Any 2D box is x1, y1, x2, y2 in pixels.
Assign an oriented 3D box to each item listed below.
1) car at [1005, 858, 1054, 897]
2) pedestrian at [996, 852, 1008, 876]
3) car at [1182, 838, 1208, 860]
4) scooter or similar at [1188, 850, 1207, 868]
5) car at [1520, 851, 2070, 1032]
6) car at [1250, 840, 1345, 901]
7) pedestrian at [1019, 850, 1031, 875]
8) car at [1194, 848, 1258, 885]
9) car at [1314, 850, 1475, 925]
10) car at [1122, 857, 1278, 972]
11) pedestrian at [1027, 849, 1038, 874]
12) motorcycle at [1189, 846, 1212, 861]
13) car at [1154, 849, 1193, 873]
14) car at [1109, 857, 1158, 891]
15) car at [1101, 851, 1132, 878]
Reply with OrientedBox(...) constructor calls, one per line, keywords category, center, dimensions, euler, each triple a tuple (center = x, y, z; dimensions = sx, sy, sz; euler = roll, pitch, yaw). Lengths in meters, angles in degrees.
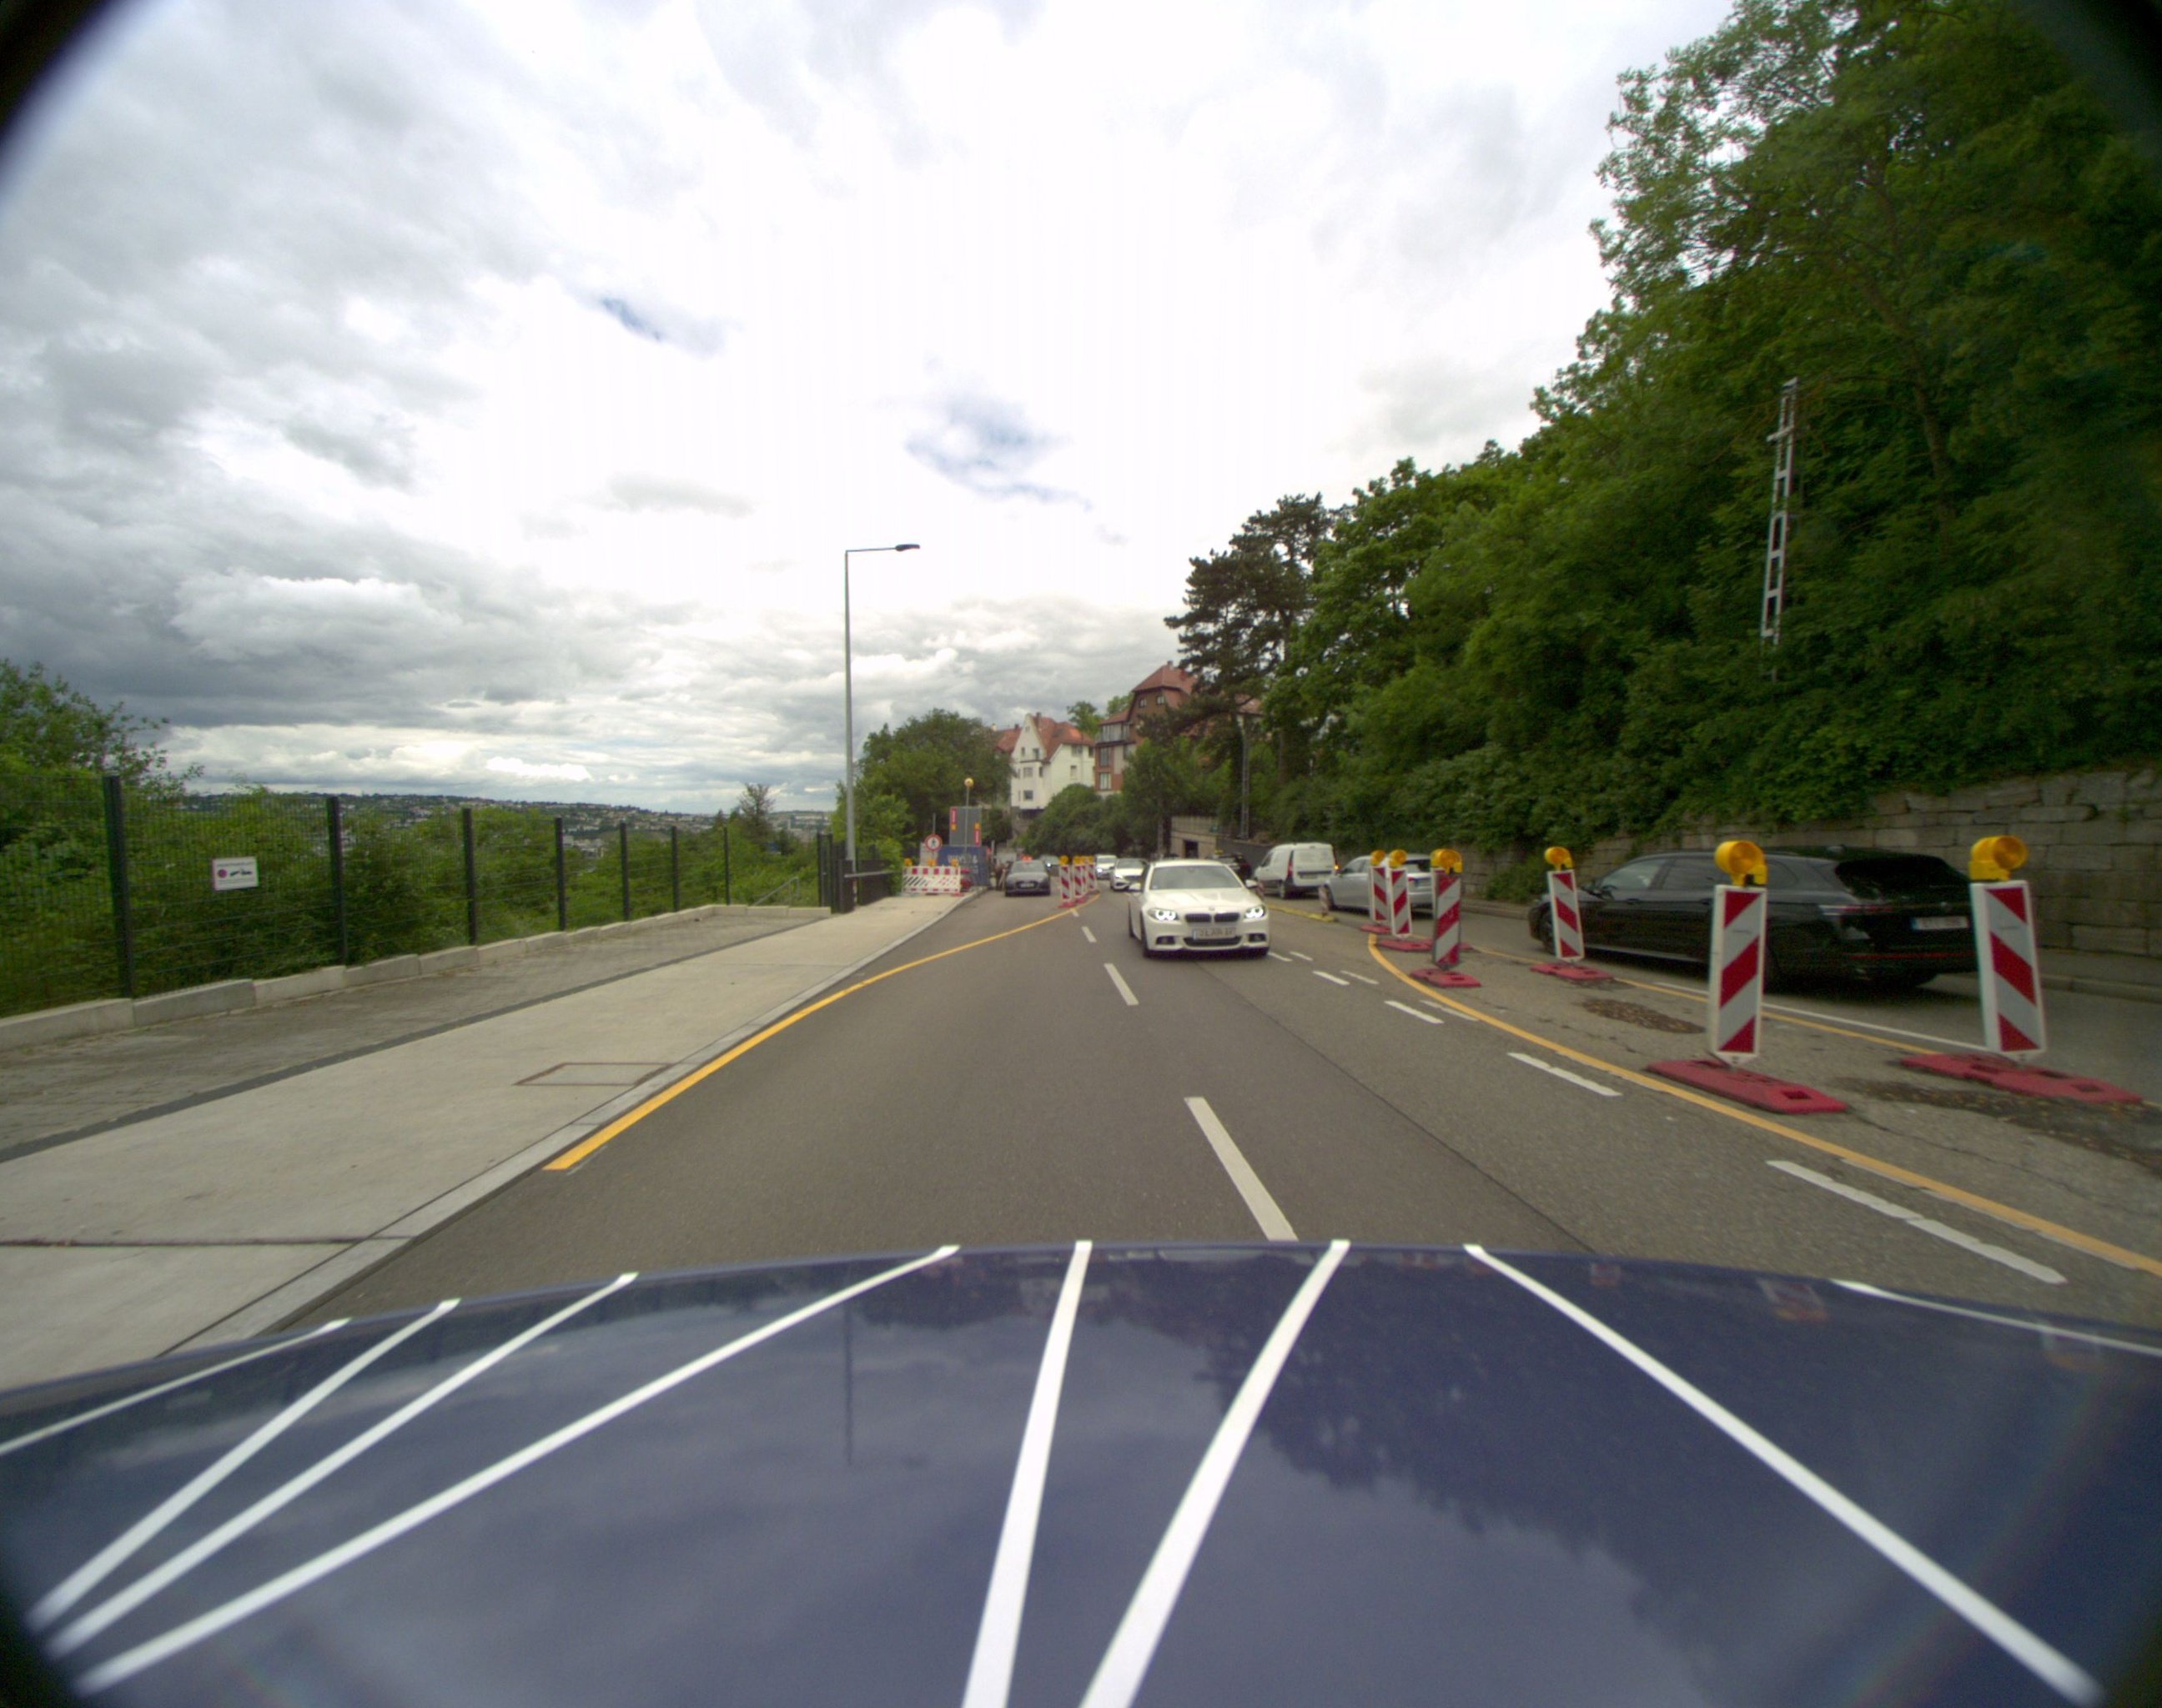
OrientedBox(category="car", center=(-2.097, 0.917, 31.757), dimensions=(1.845, 1.447, 4.626), euler=(-2, 0, -2))
OrientedBox(category="pedestrian", center=(-5.967, 0.741, 57.514), dimensions=(0.648, 1.784, 0.642), euler=(-4, 2, -28))
OrientedBox(category="car", center=(10.258, -0.490, 68.792), dimensions=(1.573, 1.596, 3.583), euler=(-3, 5, -3))
OrientedBox(category="scooter or similar", center=(8.037, 0.348, 52.305), dimensions=(1.217, 1.225, 0.493), euler=(-3, 1, -36))
OrientedBox(category="car", center=(7.474, 0.731, 8.840), dimensions=(1.775, 1.433, 4.744), euler=(-2, 1, -3))
OrientedBox(category="car", center=(7.110, 0.475, 25.405), dimensions=(1.807, 1.780, 4.341), euler=(-2, 1, -1))
OrientedBox(category="pedestrian", center=(-4.224, 0.640, 57.462), dimensions=(0.620, 1.873, 0.717), euler=(1, -3, -43))
OrientedBox(category="car", center=(6.717, 0.526, 35.675), dimensions=(1.836, 1.583, 4.653), euler=(-2, 1, -3))
OrientedBox(category="car", center=(7.228, 0.686, 18.044), dimensions=(1.796, 1.499, 4.310), euler=(-2, 1, -4))
OrientedBox(category="car", center=(1.780, 0.847, 12.947), dimensions=(1.852, 1.458, 4.878), euler=(-2, 1, 0))
OrientedBox(category="pedestrian", center=(-3.560, 0.539, 55.455), dimensions=(0.640, 1.848, 0.834), euler=(1, 0, -14))
OrientedBox(category="motorcycle", center=(10.466, -0.073, 66.605), dimensions=(1.843, 1.177, 0.636), euler=(-2, 5, 0))
OrientedBox(category="car", center=(6.172, 0.418, 51.021), dimensions=(1.834, 1.476, 4.316), euler=(-3, 1, -2))
OrientedBox(category="car", center=(2.255, 0.834, 33.616), dimensions=(1.798, 1.299, 4.100), euler=(-2, 0, -1))
OrientedBox(category="car", center=(2.333, 0.668, 50.433), dimensions=(1.885, 1.569, 3.999), euler=(-2, 1, 1))
